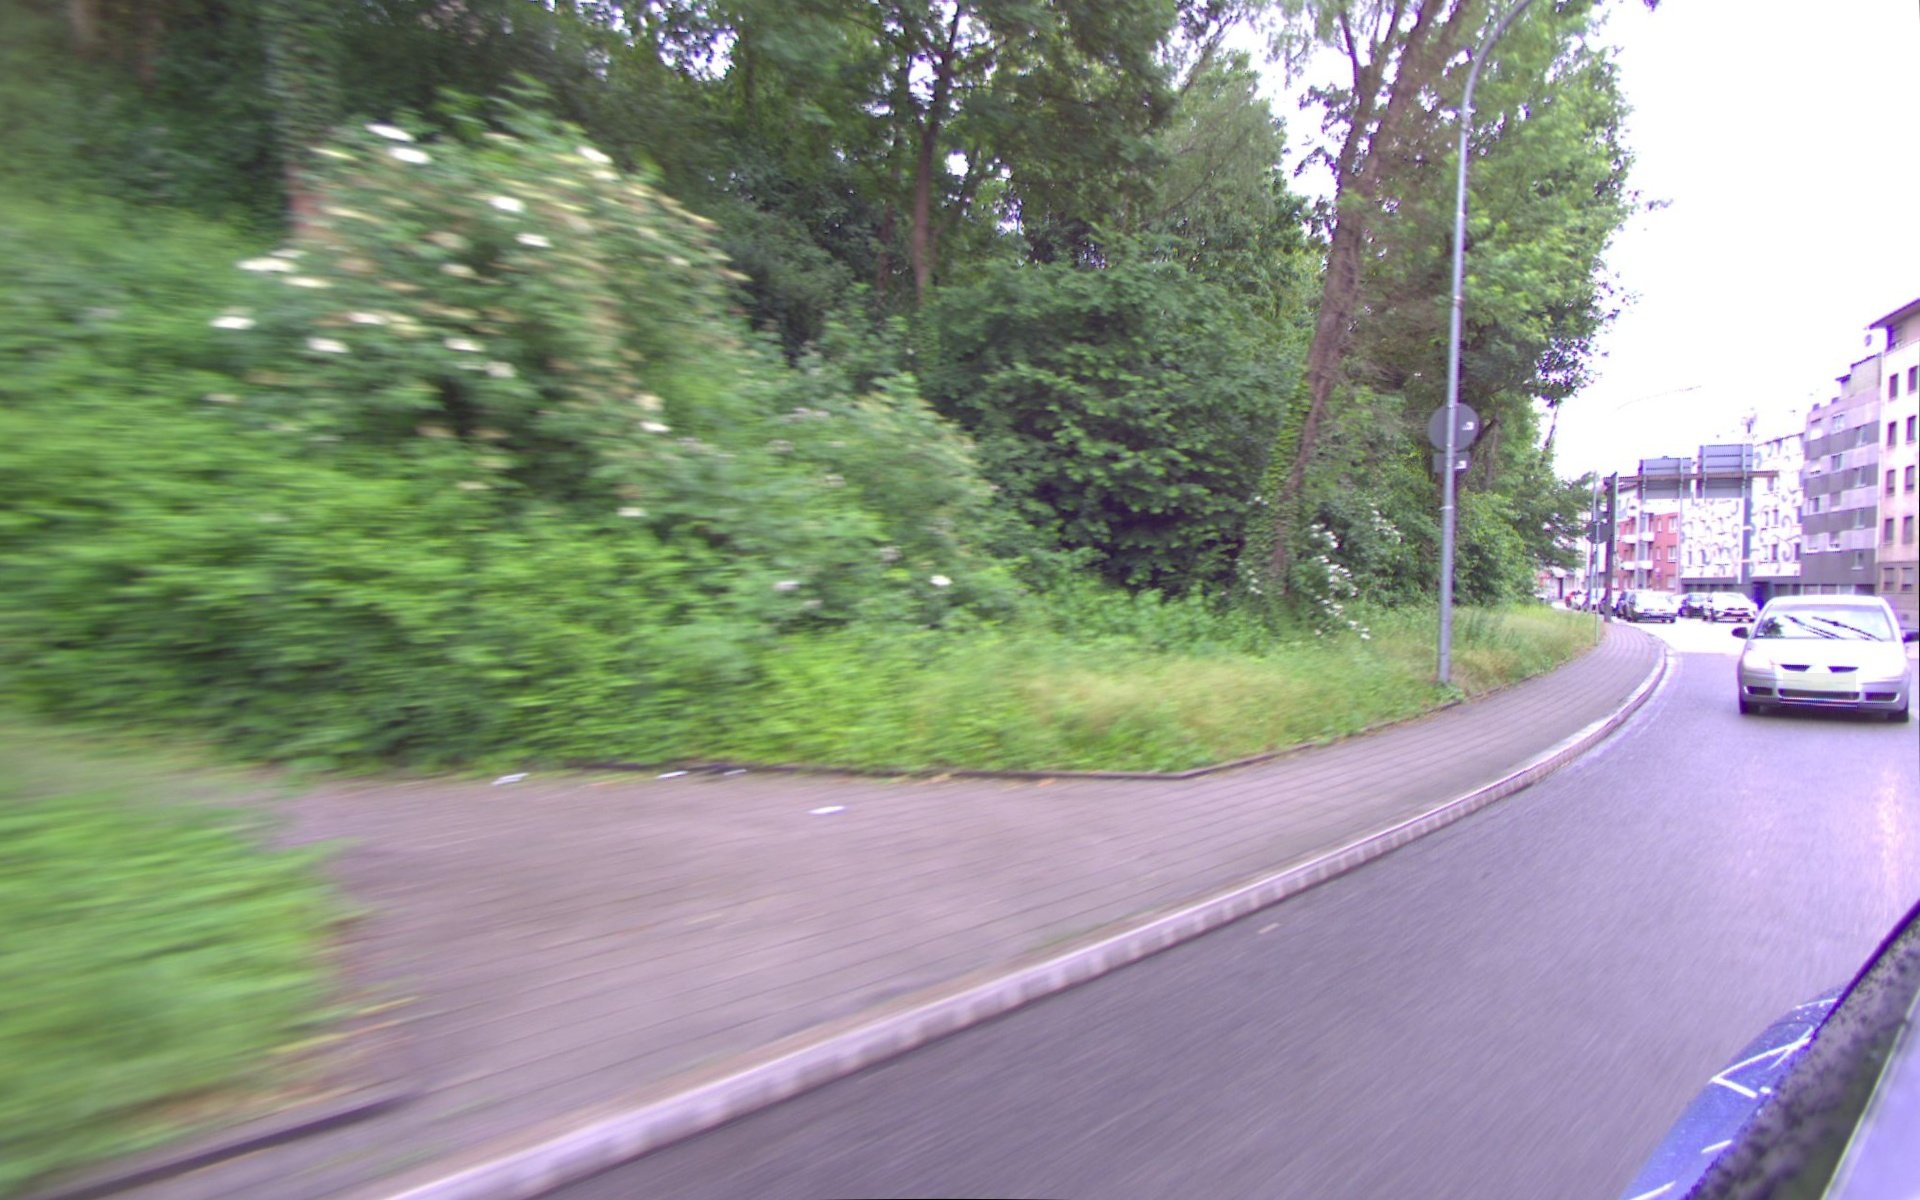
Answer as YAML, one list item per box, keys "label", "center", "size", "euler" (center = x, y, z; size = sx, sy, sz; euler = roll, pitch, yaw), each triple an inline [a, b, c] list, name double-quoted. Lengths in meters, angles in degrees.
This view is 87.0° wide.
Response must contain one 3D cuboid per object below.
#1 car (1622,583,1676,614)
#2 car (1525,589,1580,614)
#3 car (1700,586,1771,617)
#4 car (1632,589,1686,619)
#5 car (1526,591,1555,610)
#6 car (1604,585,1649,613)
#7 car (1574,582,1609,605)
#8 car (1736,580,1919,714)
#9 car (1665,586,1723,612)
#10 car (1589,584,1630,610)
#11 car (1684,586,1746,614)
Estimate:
- label: "car"
  center: [37.884, -0.097, 55.747]
  size: [1.982, 1.637, 4.574]
  euler: [1, 1, 28]
- label: "car"
  center: [51.425, 0.124, 87.969]
  size: [1.961, 2.039, 4.491]
  euler: [0, 1, -3]
- label: "car"
  center: [39.485, 0.034, 51.664]
  size: [1.859, 1.496, 4.516]
  euler: [1, 1, 25]
- label: "car"
  center: [34.562, 0.160, 50.112]
  size: [1.804, 1.426, 4.189]
  euler: [1, 1, 29]
- label: "car"
  center: [54.035, 0.038, 94.297]
  size: [1.891, 1.733, 4.854]
  euler: [0, 1, 25]
- label: "car"
  center: [41.053, -0.097, 62.439]
  size: [1.664, 1.677, 3.967]
  euler: [1, 1, 24]
- label: "car"
  center: [46.478, -0.495, 74.546]
  size: [1.664, 1.677, 3.967]
  euler: [1, 1, 24]
- label: "car"
  center: [11.822, 0.547, 13.636]
  size: [1.748, 1.538, 3.937]
  euler: [0, 0, 44]
- label: "car"
  center: [45.320, -0.077, 62.603]
  size: [1.979, 1.496, 4.581]
  euler: [1, 1, 25]
- label: "car"
  center: [43.562, -0.211, 67.941]
  size: [1.664, 1.677, 3.967]
  euler: [1, 1, 24]
- label: "car"
  center: [42.434, -0.035, 56.988]
  size: [1.901, 1.496, 4.579]
  euler: [1, 1, 26]
